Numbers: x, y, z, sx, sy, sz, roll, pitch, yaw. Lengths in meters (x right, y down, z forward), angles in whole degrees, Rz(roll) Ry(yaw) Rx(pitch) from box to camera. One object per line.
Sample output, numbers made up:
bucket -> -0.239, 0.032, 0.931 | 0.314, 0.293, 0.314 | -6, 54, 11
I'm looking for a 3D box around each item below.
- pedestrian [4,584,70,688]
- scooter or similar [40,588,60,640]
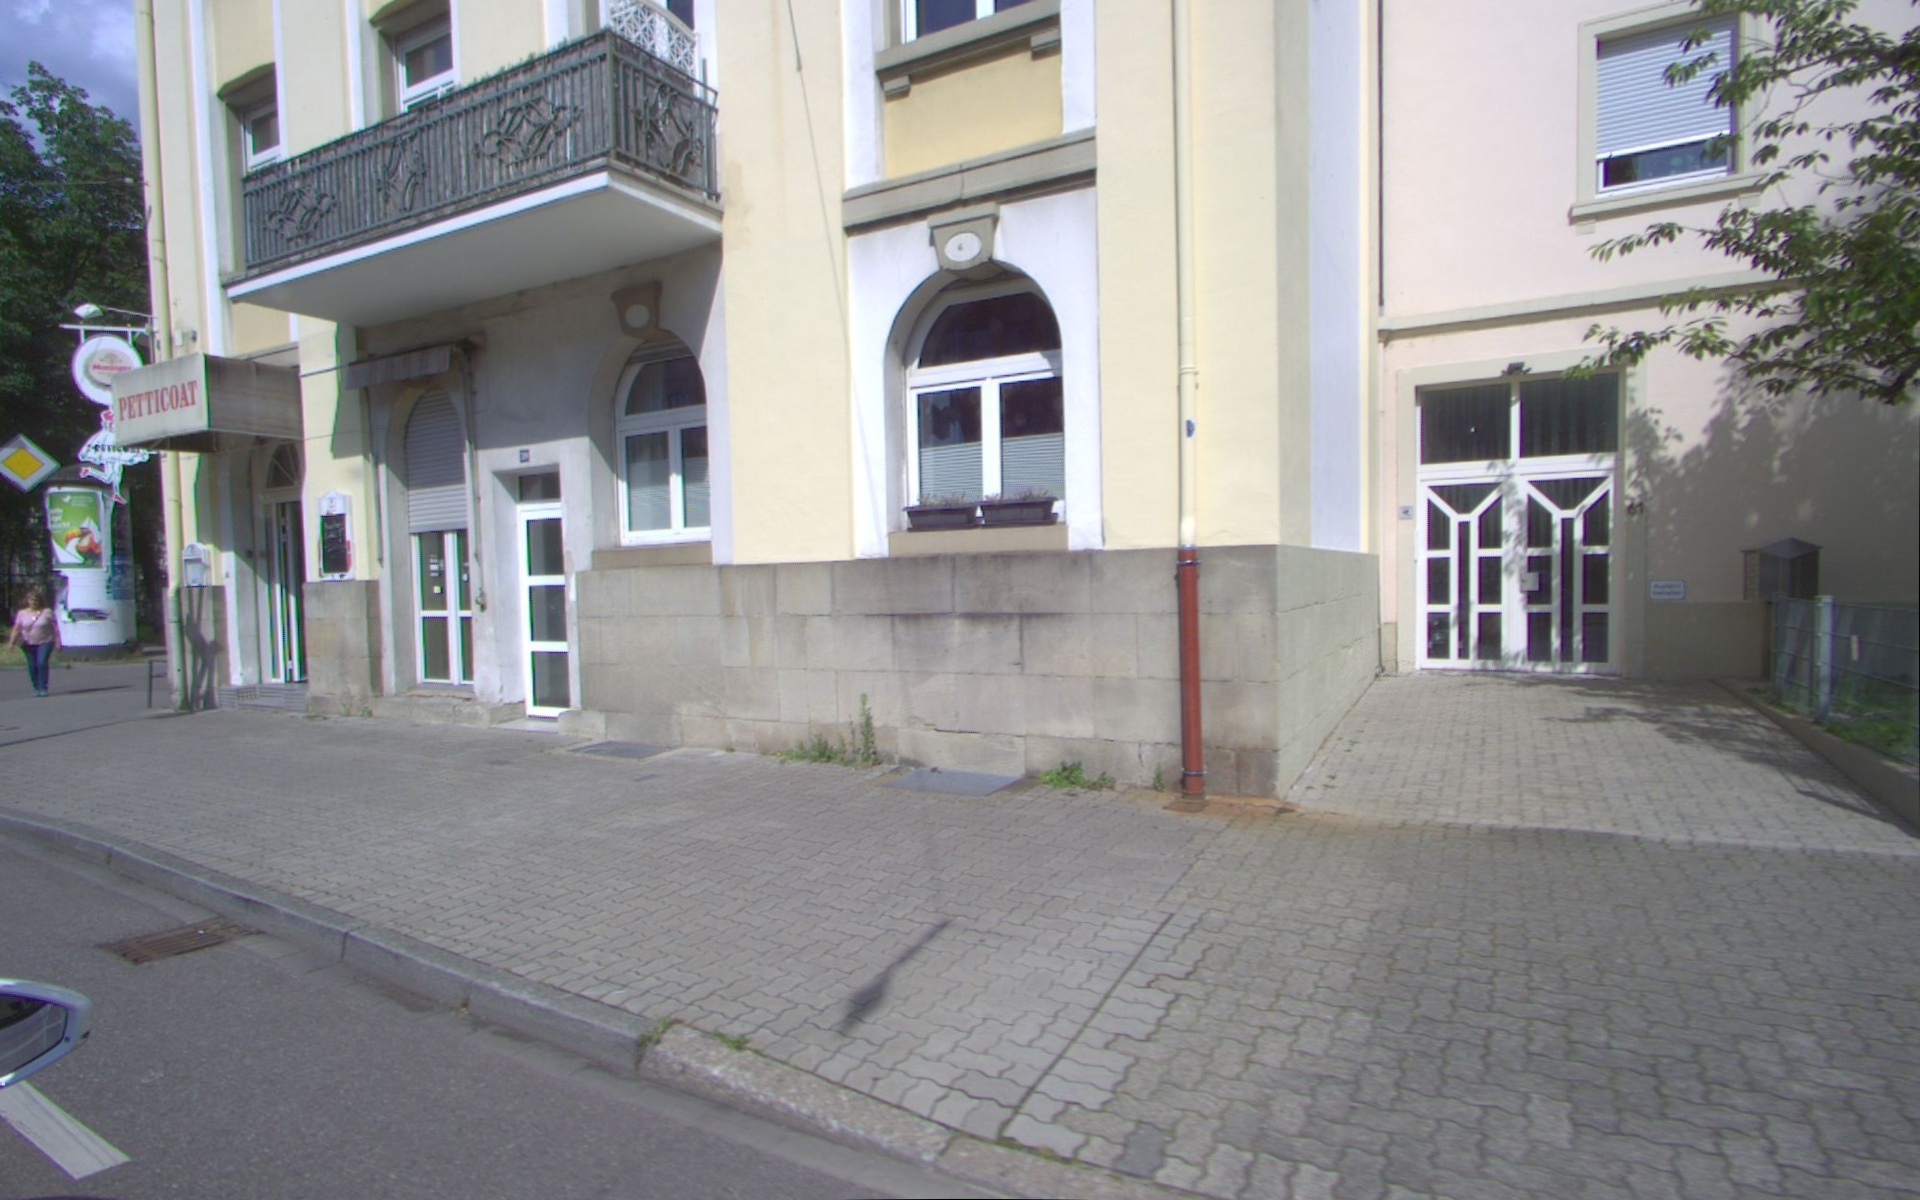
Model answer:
pedestrian -> -15.380, 0.579, 16.702 | 0.666, 1.671, 0.757 | -3, 3, -38
scooter or similar -> -21.453, 0.316, 23.600 | 0.303, 1.205, 1.151 | -3, 3, -43
